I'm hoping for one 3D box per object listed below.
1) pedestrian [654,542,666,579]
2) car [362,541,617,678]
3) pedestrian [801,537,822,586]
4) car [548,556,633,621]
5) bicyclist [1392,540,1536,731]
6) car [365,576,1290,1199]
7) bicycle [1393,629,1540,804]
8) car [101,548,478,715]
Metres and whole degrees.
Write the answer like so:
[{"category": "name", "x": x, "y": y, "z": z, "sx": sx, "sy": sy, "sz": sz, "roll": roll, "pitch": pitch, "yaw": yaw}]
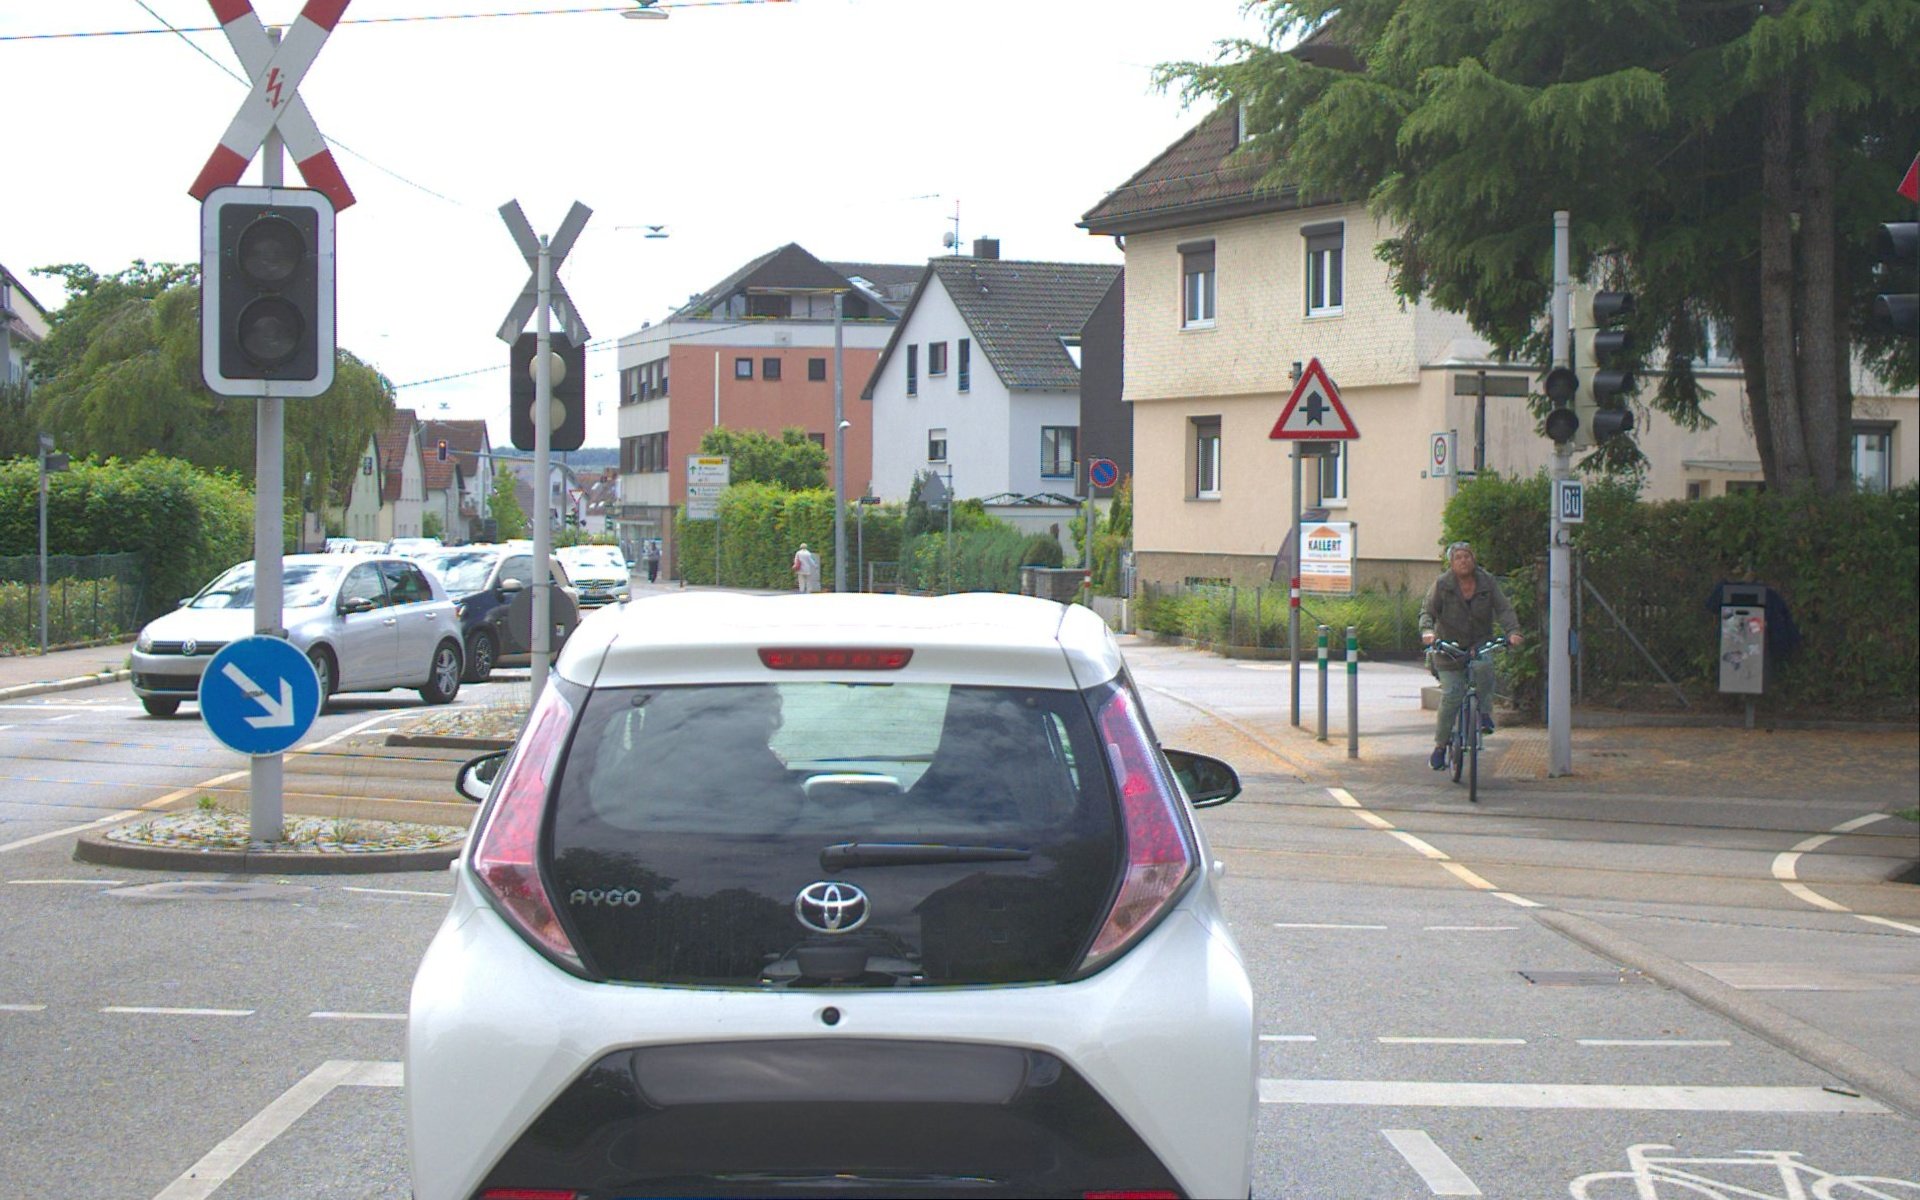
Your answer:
[{"category": "pedestrian", "x": -11.905, "y": -1.574, "z": 136.356, "sx": 0.413, "sy": 1.433, "sz": 0.438, "roll": 1, "pitch": 1, "yaw": -10}, {"category": "car", "x": -5.462, "y": 0.103, "z": 40.133, "sx": 1.577, "sy": 1.505, "sz": 2.783, "roll": 2, "pitch": 1, "yaw": 28}, {"category": "pedestrian", "x": -4.447, "y": -1.155, "z": 102.985, "sx": 0.436, "sy": 1.433, "sz": 0.414, "roll": 0, "pitch": 1, "yaw": -36}, {"category": "car", "x": -9.218, "y": -0.303, "z": 85.551, "sx": 1.774, "sy": 1.556, "sz": 4.170, "roll": 1, "pitch": 1, "yaw": -10}, {"category": "bicyclist", "x": 3.489, "y": 0.232, "z": 23.862, "sx": 0.932, "sy": 1.243, "sz": 1.102, "roll": -1, "pitch": 3, "yaw": 6}, {"category": "car", "x": -0.254, "y": 0.694, "z": 8.046, "sx": 1.621, "sy": 1.481, "sz": 4.000, "roll": 0, "pitch": 0, "yaw": -1}, {"category": "bicycle", "x": 3.496, "y": 0.784, "z": 23.864, "sx": 0.932, "sy": 1.036, "sz": 1.915, "roll": -1, "pitch": 3, "yaw": 6}, {"category": "car", "x": -6.224, "y": 0.246, "z": 32.386, "sx": 1.690, "sy": 1.453, "sz": 4.066, "roll": 1, "pitch": 1, "yaw": 19}]
